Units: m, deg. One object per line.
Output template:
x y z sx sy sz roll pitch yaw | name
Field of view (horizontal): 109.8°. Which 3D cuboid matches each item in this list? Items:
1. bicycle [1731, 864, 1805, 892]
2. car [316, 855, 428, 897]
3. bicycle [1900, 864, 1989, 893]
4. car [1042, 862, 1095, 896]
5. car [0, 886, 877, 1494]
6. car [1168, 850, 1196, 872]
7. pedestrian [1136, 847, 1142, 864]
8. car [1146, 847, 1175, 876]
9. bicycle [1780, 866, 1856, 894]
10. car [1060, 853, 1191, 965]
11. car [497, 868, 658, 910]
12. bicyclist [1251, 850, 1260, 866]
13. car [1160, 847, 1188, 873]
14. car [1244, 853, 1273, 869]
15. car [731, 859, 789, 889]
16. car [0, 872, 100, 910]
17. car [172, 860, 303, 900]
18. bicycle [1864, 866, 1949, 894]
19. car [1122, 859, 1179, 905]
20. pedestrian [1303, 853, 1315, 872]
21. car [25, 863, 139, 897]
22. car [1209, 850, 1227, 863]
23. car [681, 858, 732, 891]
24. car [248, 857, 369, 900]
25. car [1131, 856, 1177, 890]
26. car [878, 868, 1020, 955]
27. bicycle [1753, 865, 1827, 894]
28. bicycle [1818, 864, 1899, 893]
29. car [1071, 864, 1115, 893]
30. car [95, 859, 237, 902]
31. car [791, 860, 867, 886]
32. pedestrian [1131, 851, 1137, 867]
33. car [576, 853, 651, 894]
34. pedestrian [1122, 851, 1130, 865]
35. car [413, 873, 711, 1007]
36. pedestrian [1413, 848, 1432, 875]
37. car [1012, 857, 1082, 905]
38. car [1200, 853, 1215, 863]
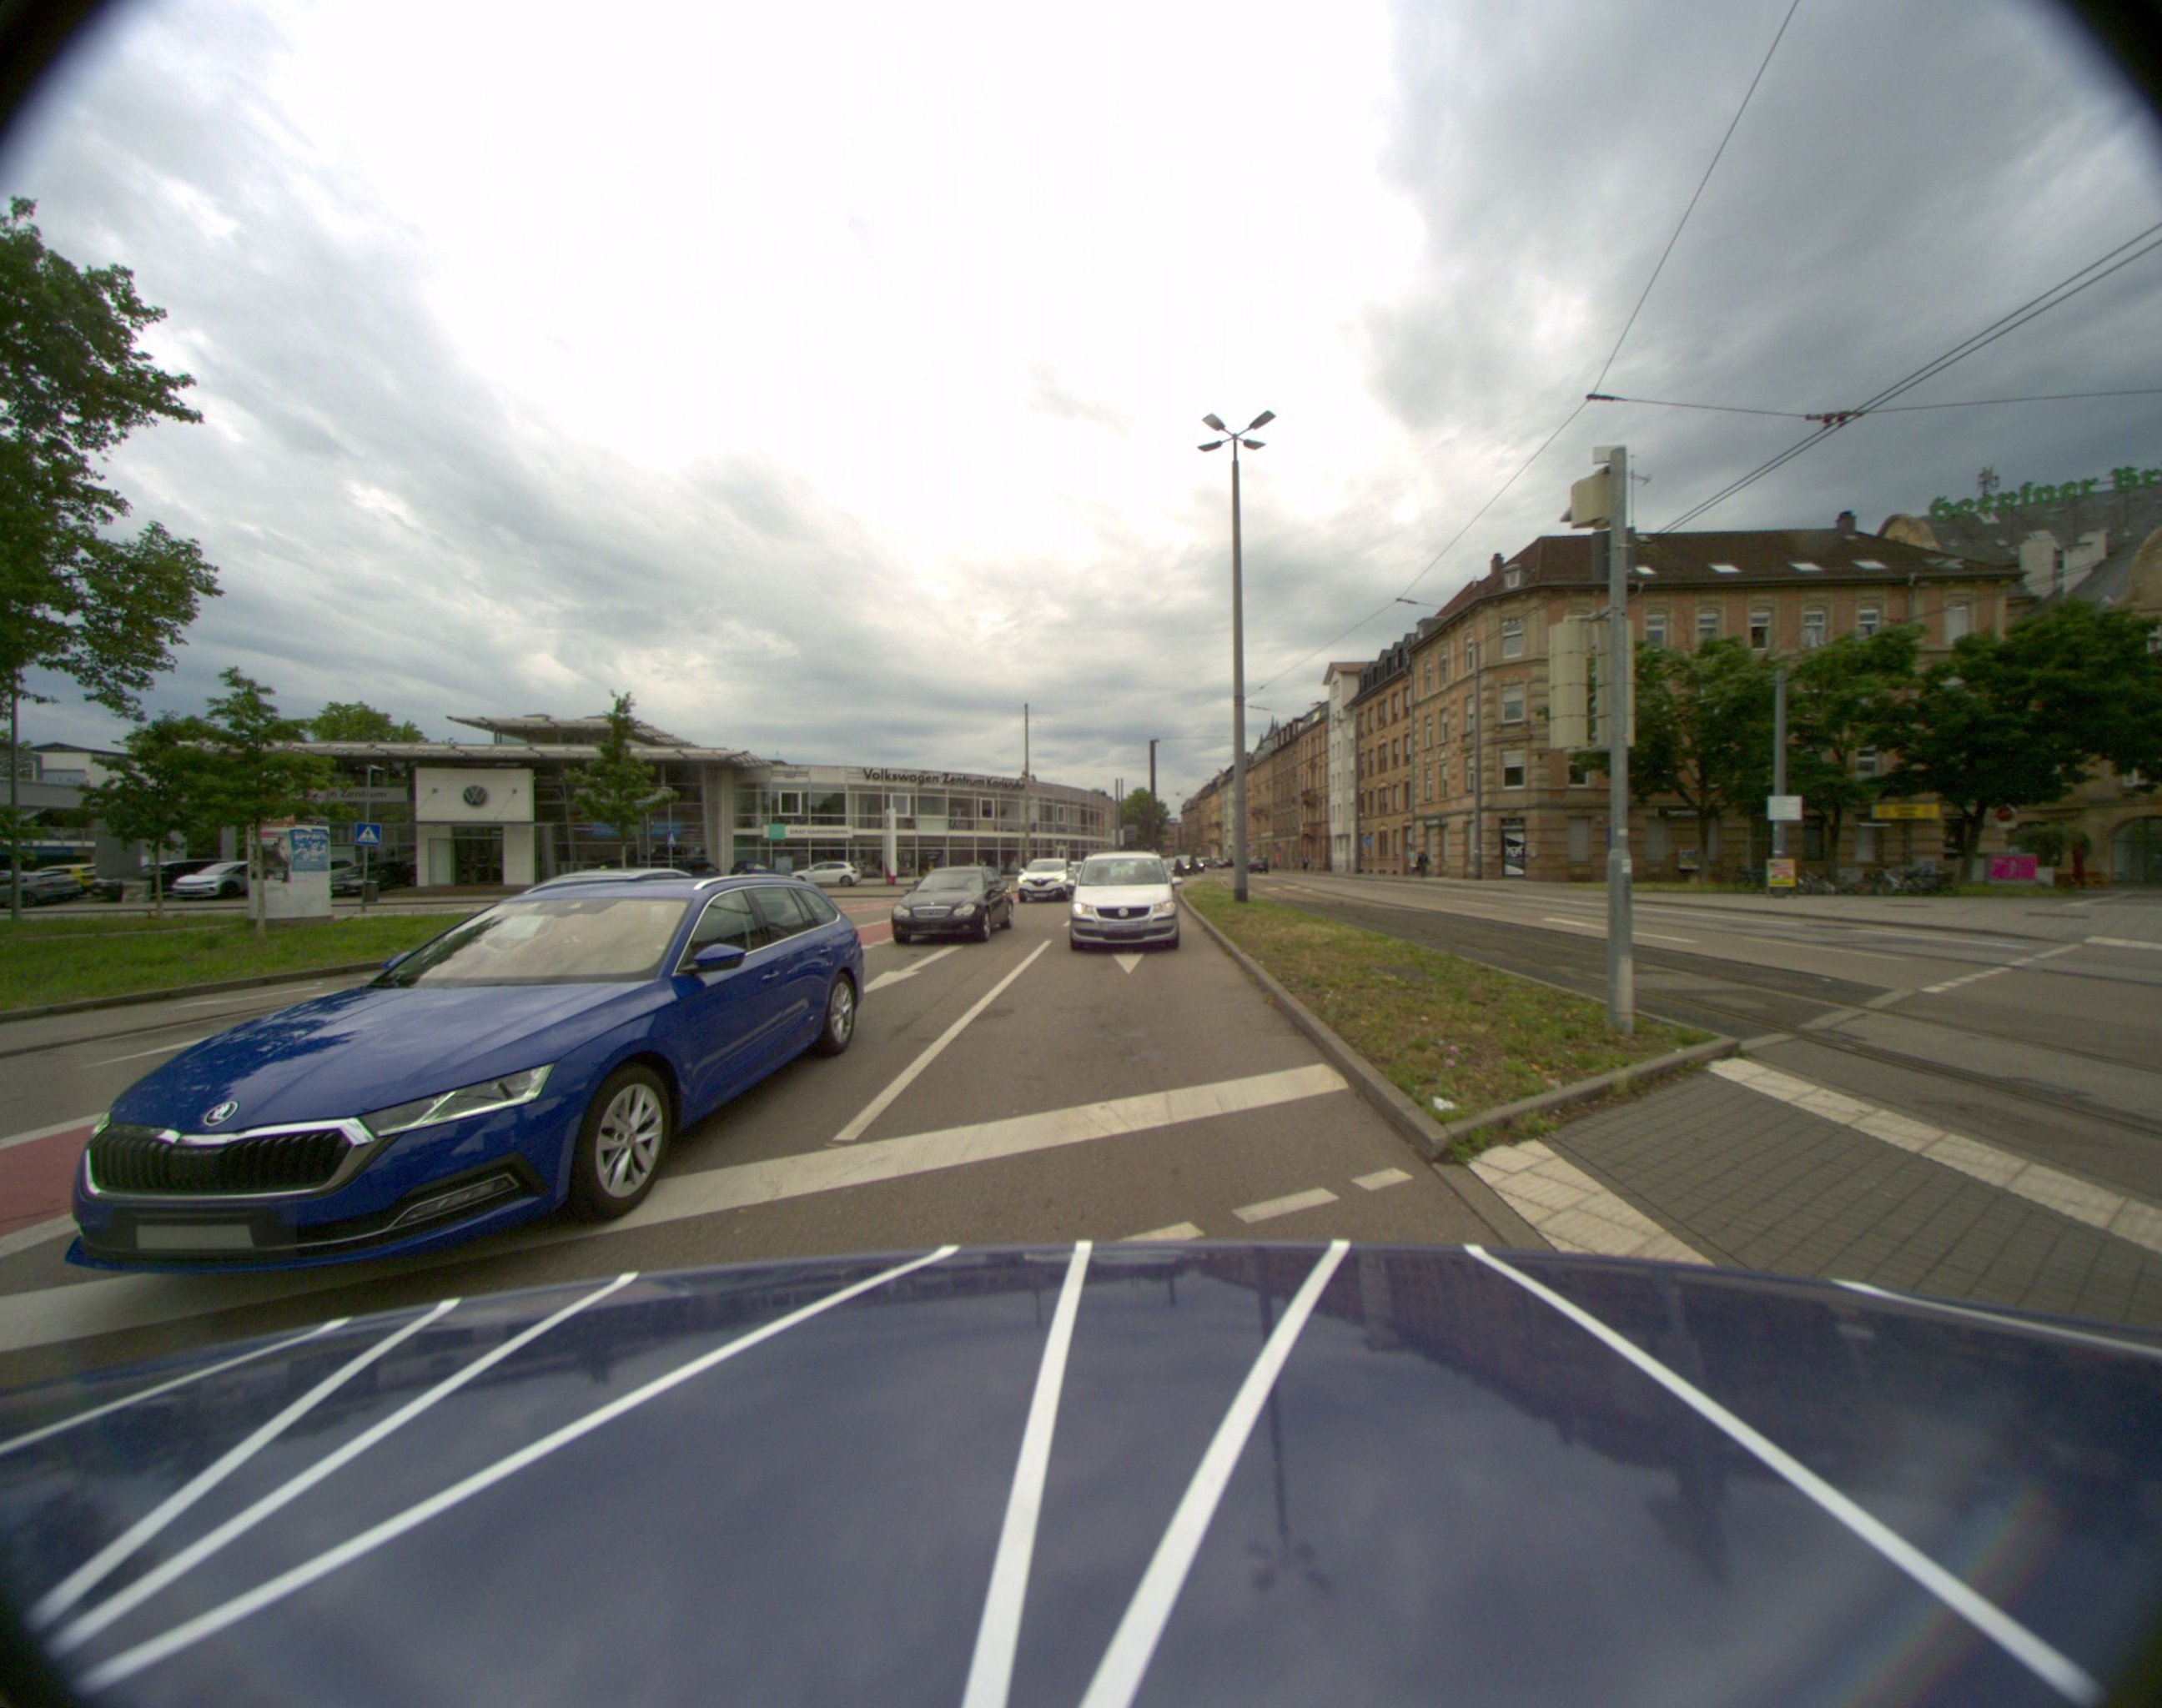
26.790 0.917 29.709 0.836 1.024 2.397 0 0 3 | bicycle
-35.334 1.061 38.031 1.957 1.449 4.221 0 7 -9 | car
32.894 0.914 29.010 0.754 1.024 2.397 0 0 3 | bicycle
-0.500 1.094 34.607 1.907 1.428 3.974 0 0 7 | car
-2.760 1.014 4.422 1.770 1.428 4.757 -1 0 1 | car
8.666 0.582 65.541 2.371 1.744 5.132 0 0 7 | car
6.362 0.165 84.041 0.652 1.904 0.602 0 1 3 | pedestrian
5.655 0.531 54.487 1.998 2.002 4.001 0 0 4 | car
28.699 0.995 29.640 0.754 1.024 2.397 0 0 3 | bicycle
0.818 0.799 13.493 1.863 1.609 5.063 -1 0 4 | car
-19.523 1.345 29.675 4.882 1.534 1.890 0 0 -9 | car
20.319 0.511 88.534 0.823 1.856 0.924 0 1 3 | bicyclist
7.356 0.484 60.586 1.998 2.002 4.001 0 0 4 | car
16.708 0.599 71.724 1.888 1.461 4.464 0 0 2 | car
-17.680 1.061 41.787 1.795 1.551 4.023 0 0 -41 | car
-47.932 1.653 34.439 4.150 1.505 1.653 0 4 -9 | car
-40.955 1.220 37.056 1.957 1.459 4.222 0 5 -9 | car
31.512 0.971 29.067 0.754 1.024 2.397 0 0 3 | bicycle
2.309 0.902 26.076 1.809 1.398 3.984 0 0 3 | car
22.367 0.797 74.459 0.921 1.822 0.719 -1 1 -32 | pedestrian
-48.268 1.233 36.781 3.123 1.505 1.439 0 4 -9 | car
18.573 0.342 102.952 1.835 1.635 4.231 0 0 2 | car
-19.957 1.054 40.391 1.961 1.516 4.218 0 2 -33 | car
-38.149 1.163 37.693 1.957 1.589 4.222 0 6 -9 | car
3.336 0.837 34.565 1.971 1.447 4.195 0 0 6 | car
-2.445 1.032 15.211 1.769 1.362 4.423 -1 0 4 | car
27.587 0.967 29.641 0.754 1.024 2.397 0 0 3 | bicycle
29.897 0.933 29.280 0.754 1.024 2.397 0 0 3 | bicycle
0.684 1.261 40.229 1.907 1.428 3.974 0 0 7 | car
-43.618 1.190 36.399 1.957 1.505 4.222 0 6 -9 | car
-14.557 1.078 44.050 3.907 1.433 1.732 0 0 -6 | car
5.402 0.518 77.444 0.663 1.671 0.650 0 1 2 | pedestrian
-24.287 0.952 39.683 1.958 1.634 4.665 0 4 -14 | car
6.351 0.552 106.763 1.177 2.002 1.032 0 0 3 | pedestrian
-7.235 1.091 11.161 1.709 1.474 3.933 -1 0 -1 | car
21.184 0.487 47.082 0.812 1.666 0.798 0 0 0 | pedestrian
-1.188 0.949 28.466 1.981 1.550 4.146 0 1 7 | car
19.264 0.617 115.956 1.814 1.423 4.018 0 0 2 | car
